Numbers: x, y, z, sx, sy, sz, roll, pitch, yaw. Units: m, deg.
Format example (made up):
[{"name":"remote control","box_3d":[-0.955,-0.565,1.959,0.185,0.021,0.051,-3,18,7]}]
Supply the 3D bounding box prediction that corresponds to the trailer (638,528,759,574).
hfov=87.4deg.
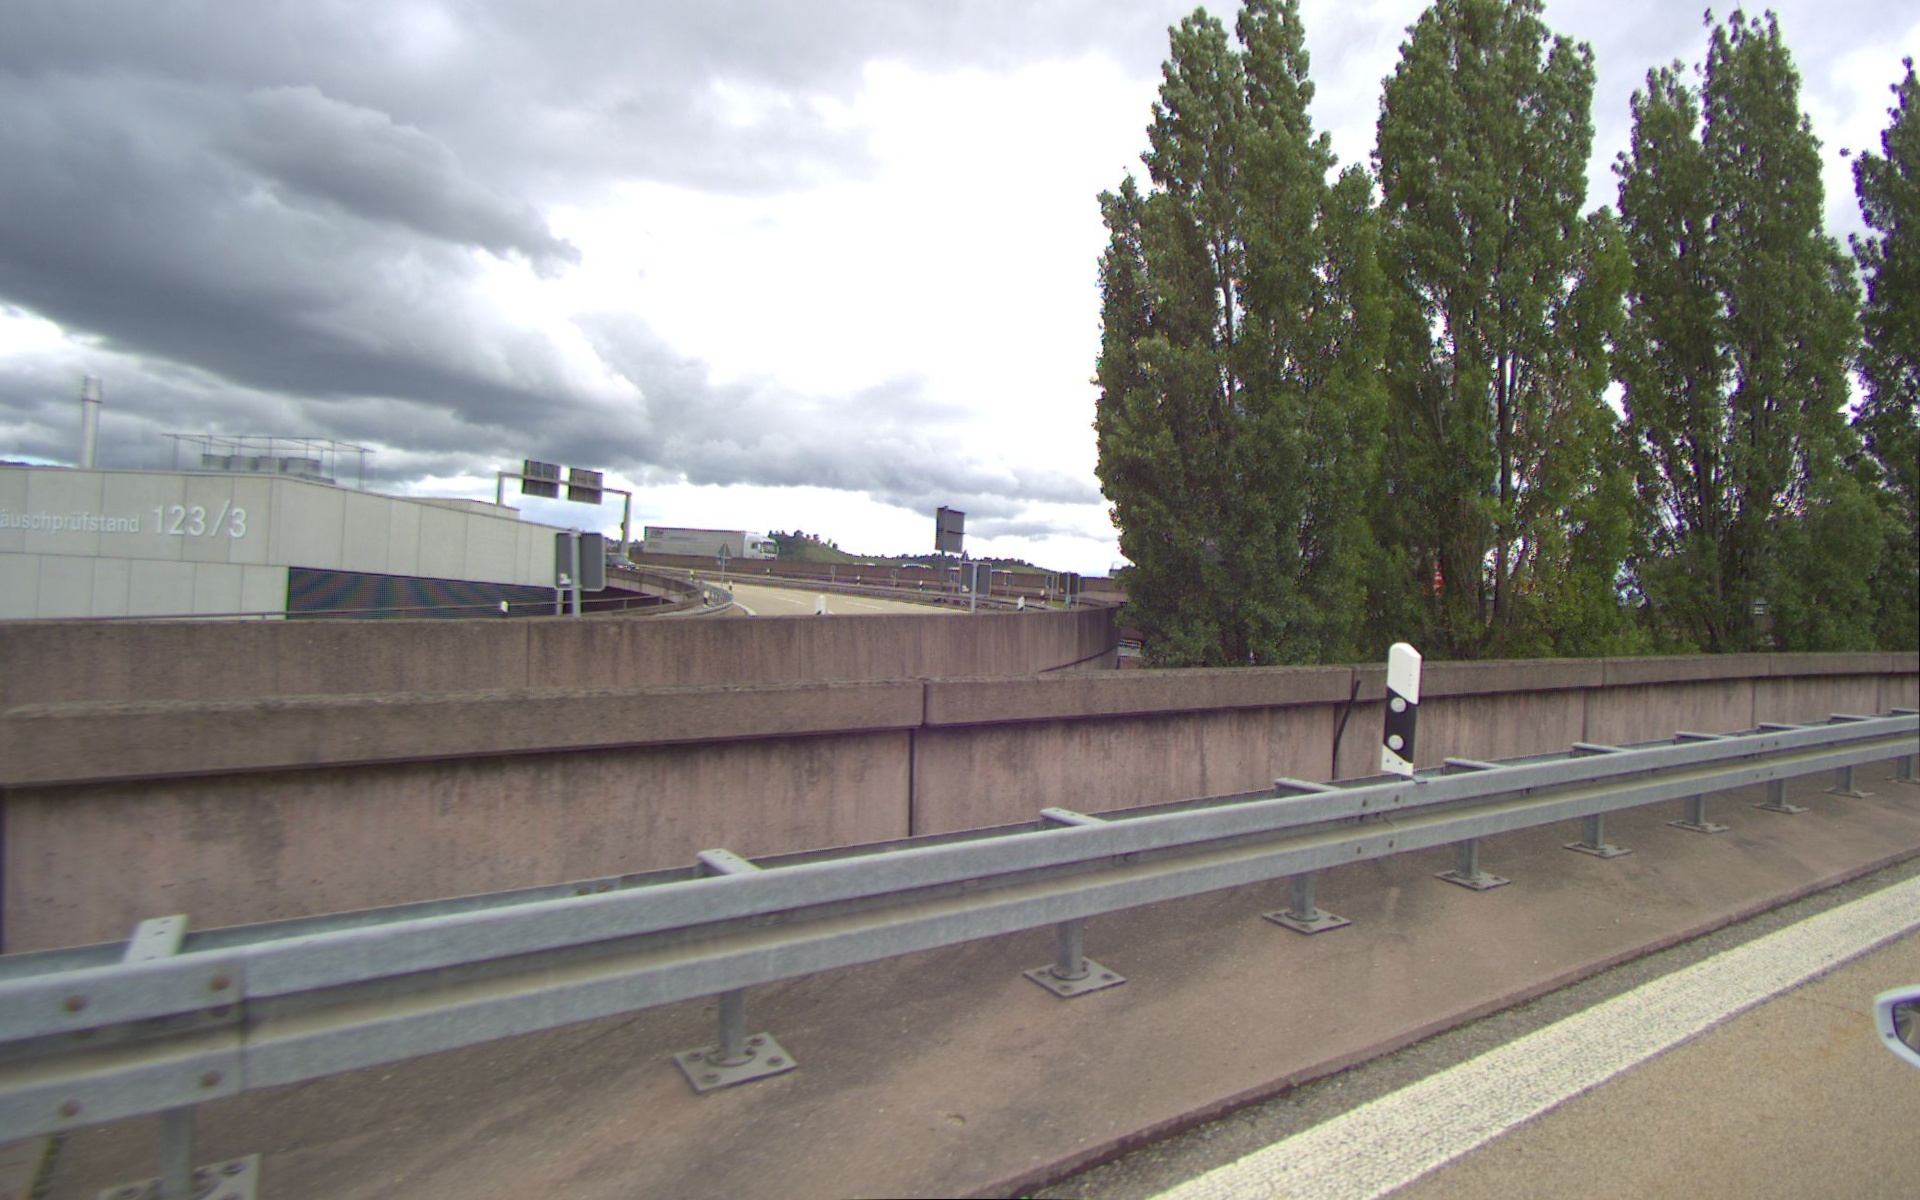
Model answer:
[{"name":"trailer","box_3d":[-26.882,-5.073,102.858,13.721,4.065,2.860,4,3,29]}]

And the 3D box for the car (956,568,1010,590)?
[{"name":"car","box_3d":[1.855,-1.671,79.850,3.930,1.517,1.710,3,2,32]}]

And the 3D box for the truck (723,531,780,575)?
[{"name":"truck","box_3d":[-20.574,-4.642,99.260,4.704,4.065,2.861,4,3,29]}]

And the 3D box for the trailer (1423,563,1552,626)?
[{"name":"trailer","box_3d":[34.500,-0.372,65.826,7.183,3.739,2.694,3,-1,31]}]

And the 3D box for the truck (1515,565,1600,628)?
[{"name":"truck","box_3d":[37.898,-0.216,63.790,4.361,3.739,2.694,3,-1,31]}]

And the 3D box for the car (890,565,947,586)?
[{"name":"car","box_3d":[-3.744,-2.203,89.558,4.809,1.691,1.994,4,2,34]}]

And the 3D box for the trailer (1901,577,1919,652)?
[{"name":"trailer","box_3d":[53.810,1.004,49.052,10.956,3.787,2.796,3,-1,31]}]
